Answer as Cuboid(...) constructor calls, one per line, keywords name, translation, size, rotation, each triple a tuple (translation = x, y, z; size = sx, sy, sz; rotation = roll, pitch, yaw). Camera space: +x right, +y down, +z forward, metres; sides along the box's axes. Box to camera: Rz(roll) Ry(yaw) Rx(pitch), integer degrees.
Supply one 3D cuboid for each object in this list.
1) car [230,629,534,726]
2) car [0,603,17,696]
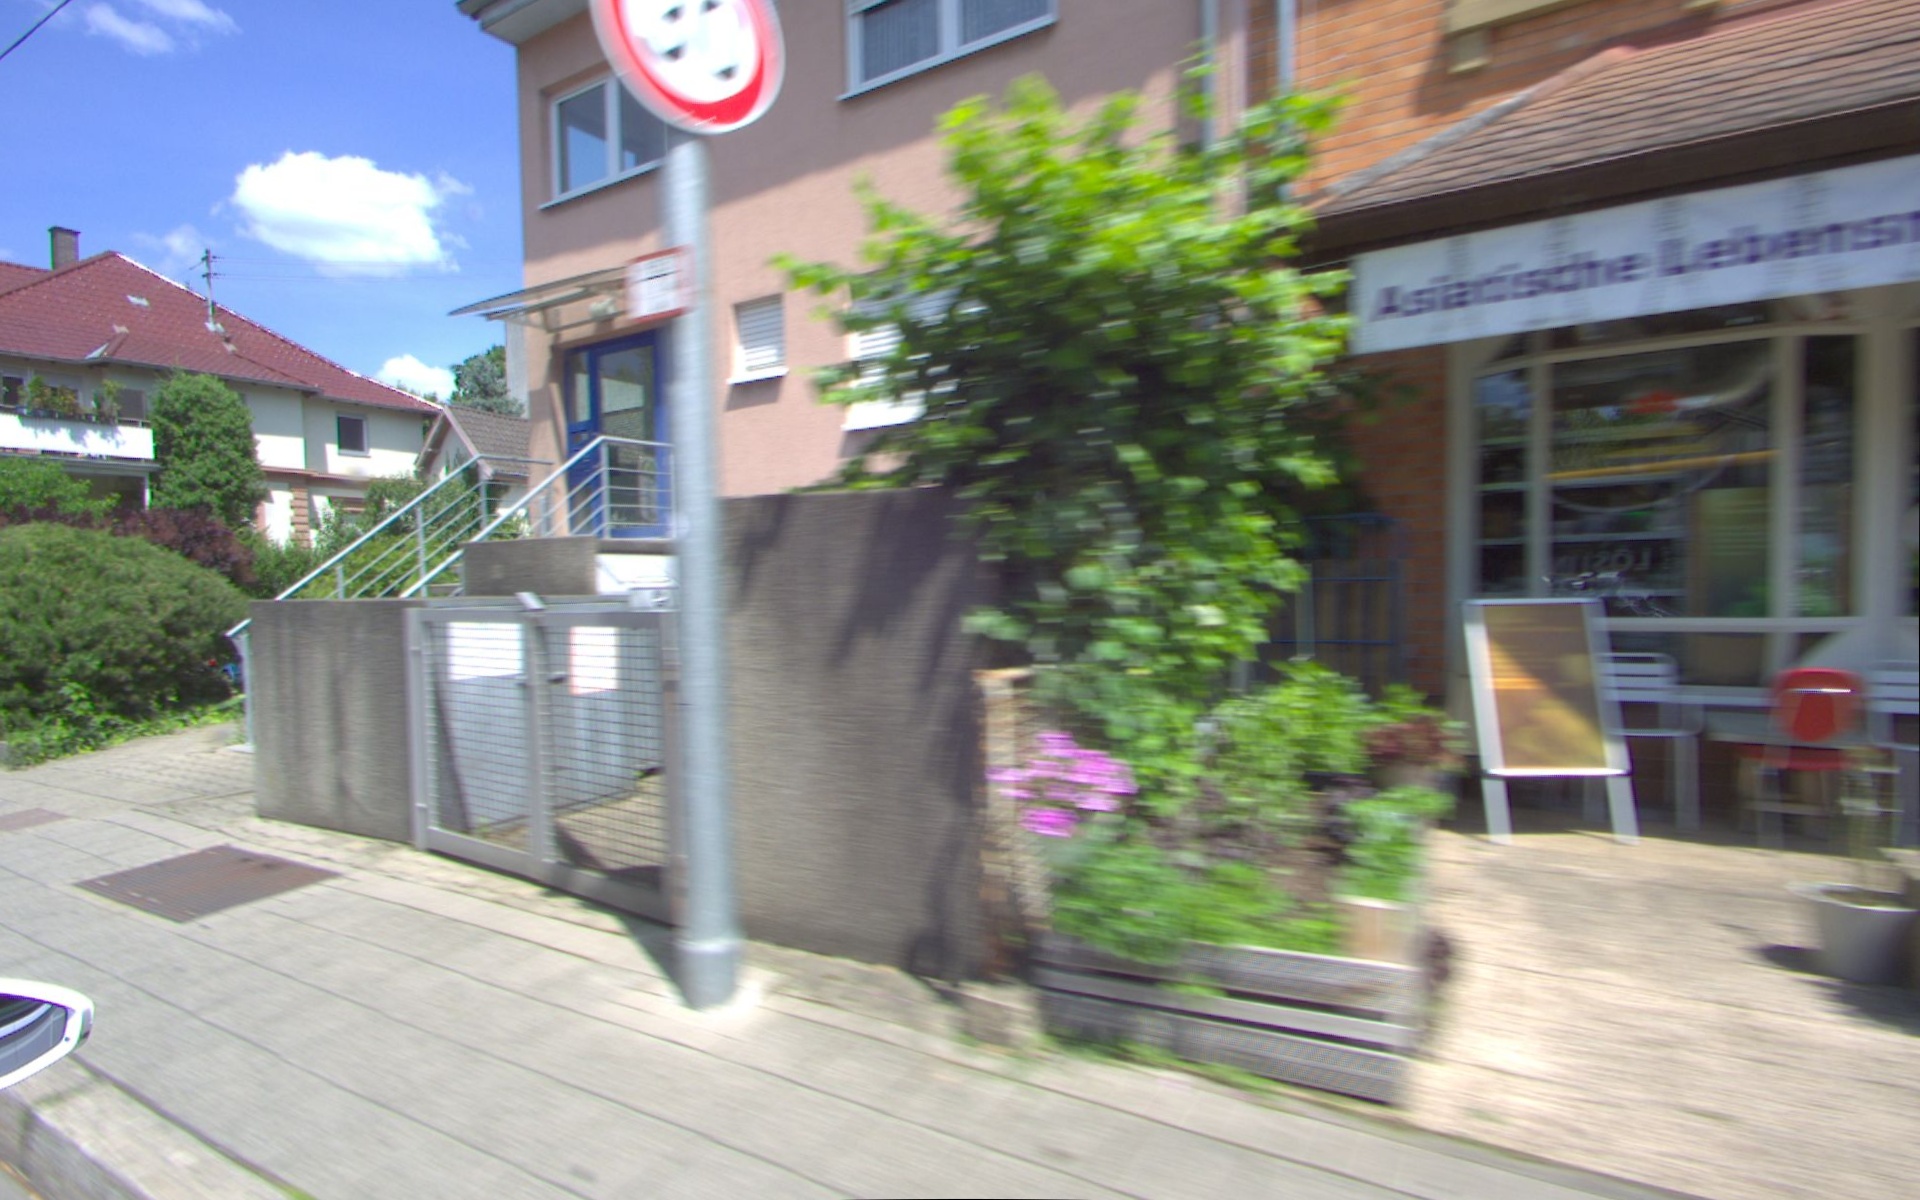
Cuboid(name="car", translation=(-9.671, 1.369, 17.091), size=(1.698, 1.441, 4.129), rotation=(-1, -6, 33))
Cuboid(name="car", translation=(-19.123, 0.890, 18.274), size=(3.943, 1.647, 1.760), rotation=(-2, -6, 32))
